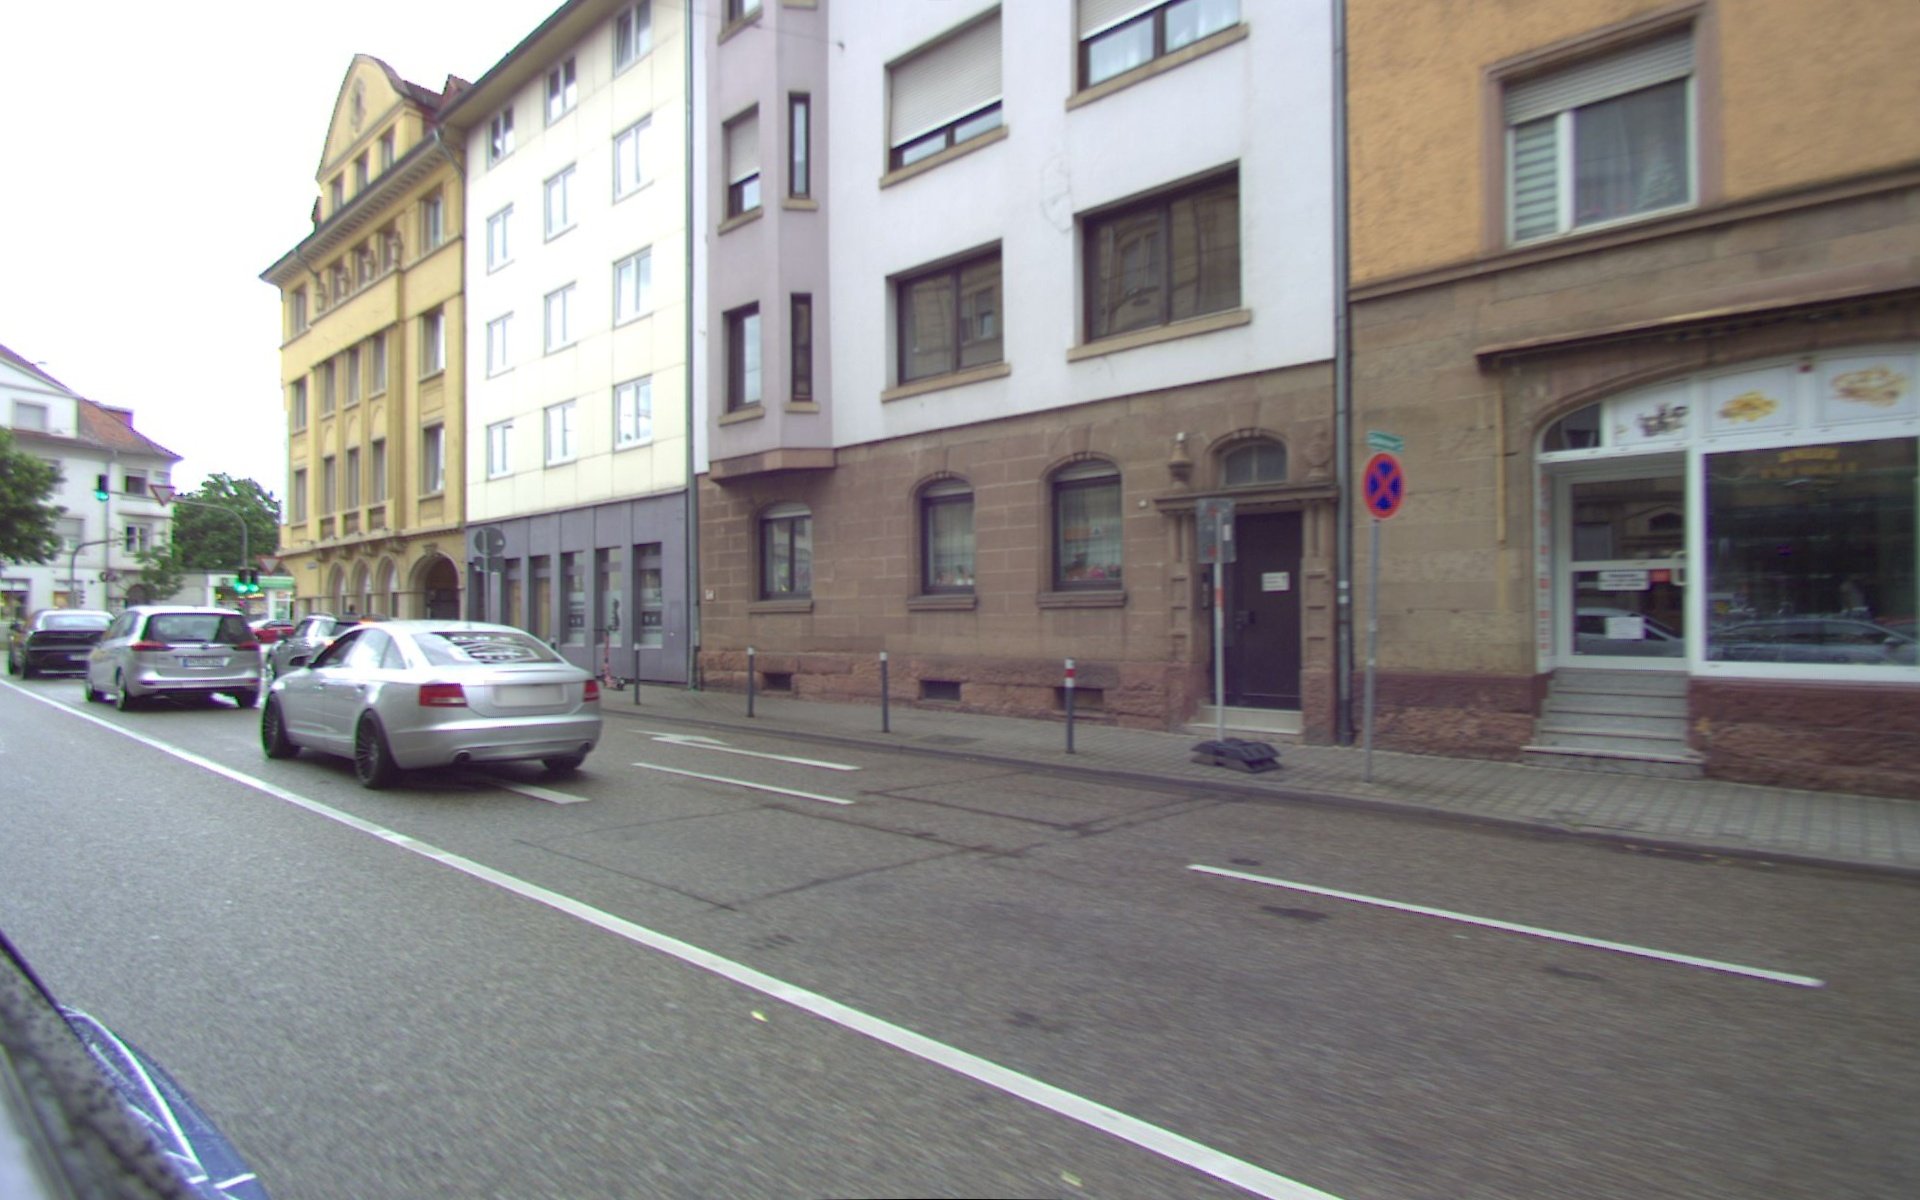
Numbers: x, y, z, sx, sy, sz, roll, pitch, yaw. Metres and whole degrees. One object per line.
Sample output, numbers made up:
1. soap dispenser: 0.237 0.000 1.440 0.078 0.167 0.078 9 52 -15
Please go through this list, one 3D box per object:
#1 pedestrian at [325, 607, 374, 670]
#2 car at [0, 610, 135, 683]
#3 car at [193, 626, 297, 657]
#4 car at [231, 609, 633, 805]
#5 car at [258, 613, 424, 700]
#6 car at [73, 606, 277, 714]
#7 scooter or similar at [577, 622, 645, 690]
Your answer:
1. pedestrian: -18.100 1.135 30.019 1.032 1.784 0.884 -1 2 40
2. car: -21.540 1.054 24.309 4.603 1.595 1.922 0 -2 41
3. car: -37.591 2.134 53.326 2.012 1.529 4.008 0 -1 23
4. car: -5.306 0.844 9.891 4.557 1.481 1.923 0 -2 41
5. car: -12.981 1.087 21.119 4.340 1.607 1.958 0 -2 45
6. car: -13.365 0.916 17.127 4.519 1.595 1.922 -1 -2 42
7. scooter or similar: -6.735 1.051 19.506 1.577 1.222 0.456 0 2 41
